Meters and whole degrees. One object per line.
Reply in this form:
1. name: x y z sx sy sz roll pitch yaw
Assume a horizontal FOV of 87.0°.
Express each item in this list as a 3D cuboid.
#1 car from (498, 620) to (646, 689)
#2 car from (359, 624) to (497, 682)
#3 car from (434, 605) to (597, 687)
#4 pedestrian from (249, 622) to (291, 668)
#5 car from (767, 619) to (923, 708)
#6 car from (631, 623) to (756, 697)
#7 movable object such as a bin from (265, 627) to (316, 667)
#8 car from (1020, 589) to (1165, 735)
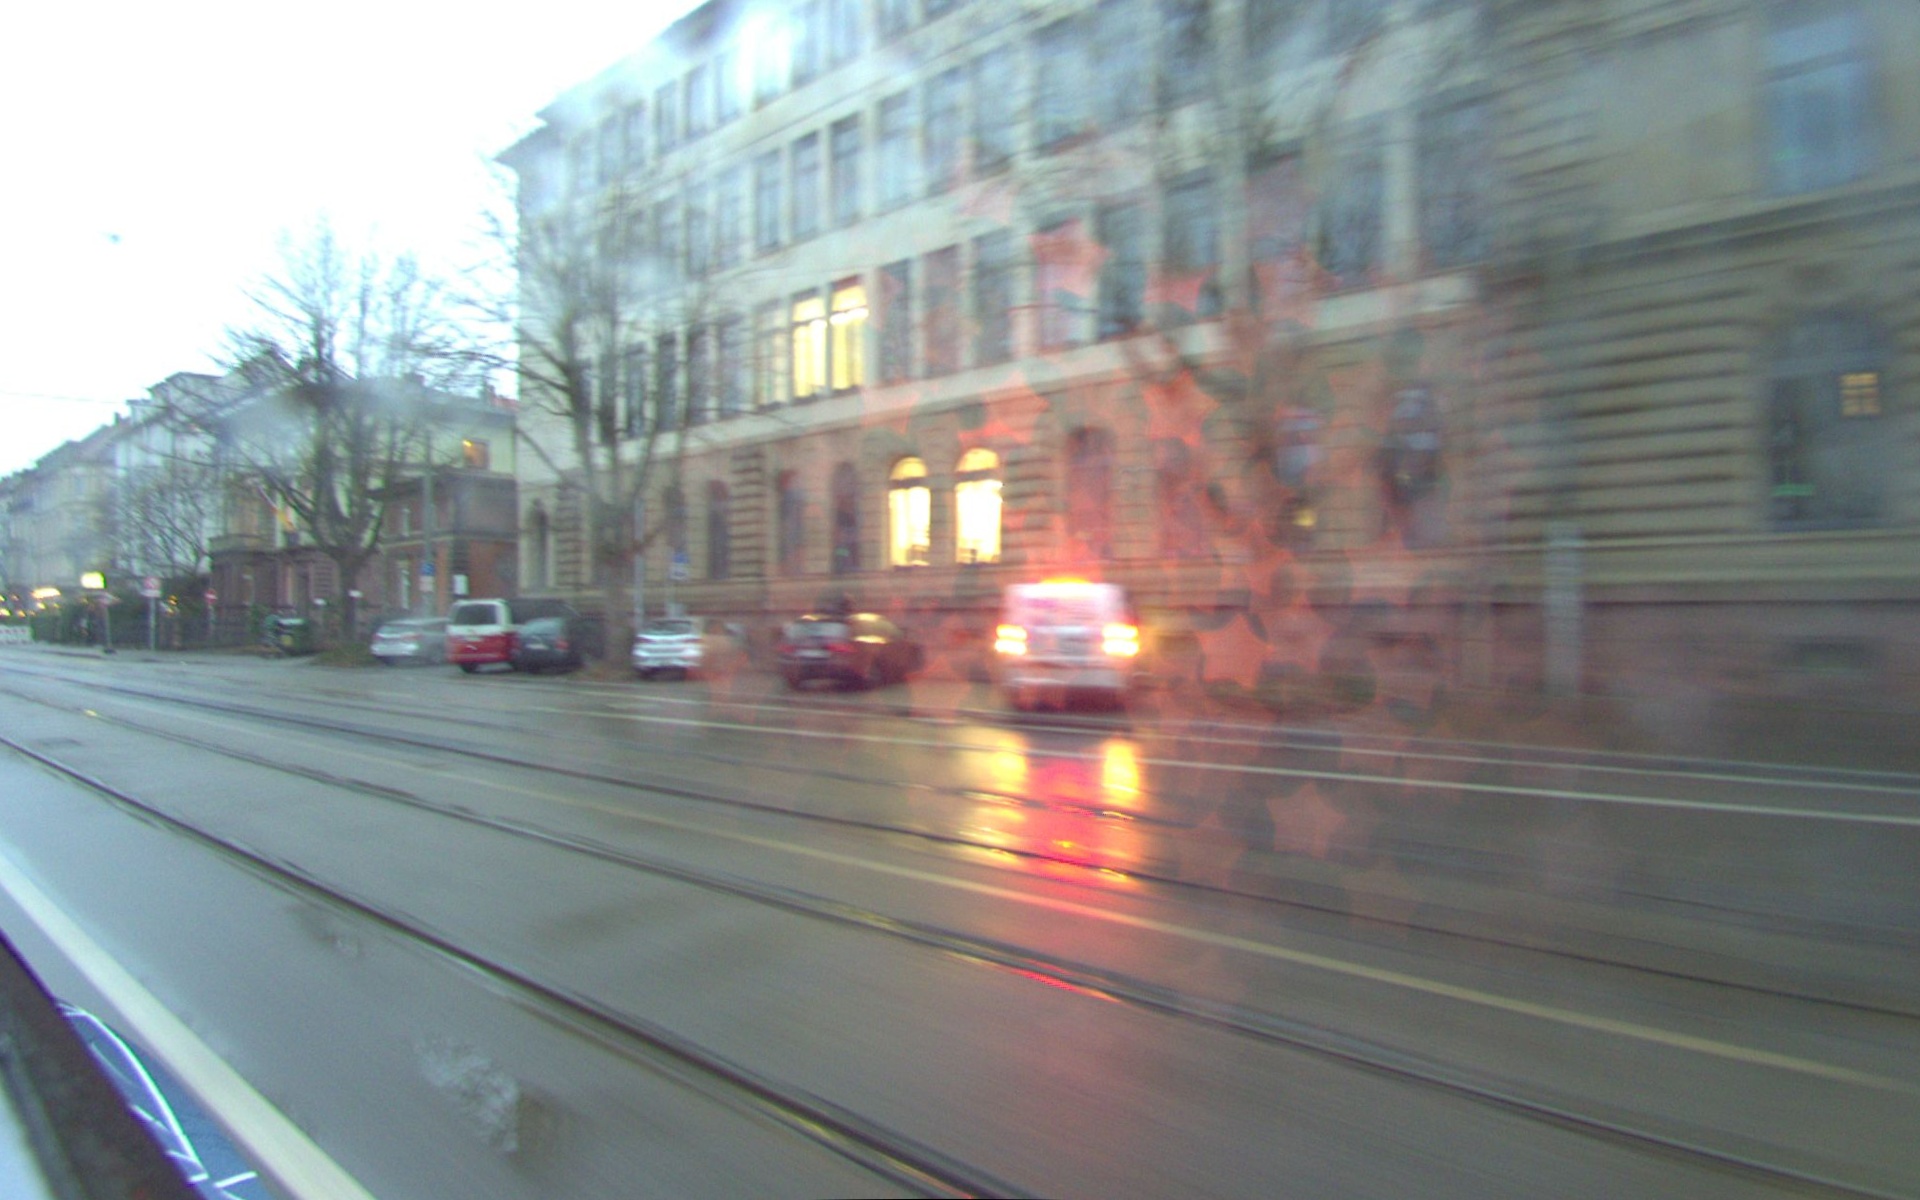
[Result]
1. car: -10.196 1.392 26.910 1.805 1.551 3.962 -1 0 12
2. car: -17.088 1.654 32.742 1.756 1.603 4.172 -1 0 10
3. car: -12.559 1.230 28.974 1.946 2.069 4.605 -1 0 12
4. pedestrian: -26.394 1.727 38.743 0.940 1.716 0.919 -1 0 17
5. car: -2.190 1.204 20.633 1.782 1.468 4.459 -1 0 13
6. car: -6.188 1.353 23.946 1.617 1.468 3.820 -1 0 6
7. movable object such as a bin: -26.243 1.848 39.704 1.326 1.475 0.985 -1 0 2
8. car: 2.033 0.873 16.868 1.887 2.049 4.801 -1 0 2
